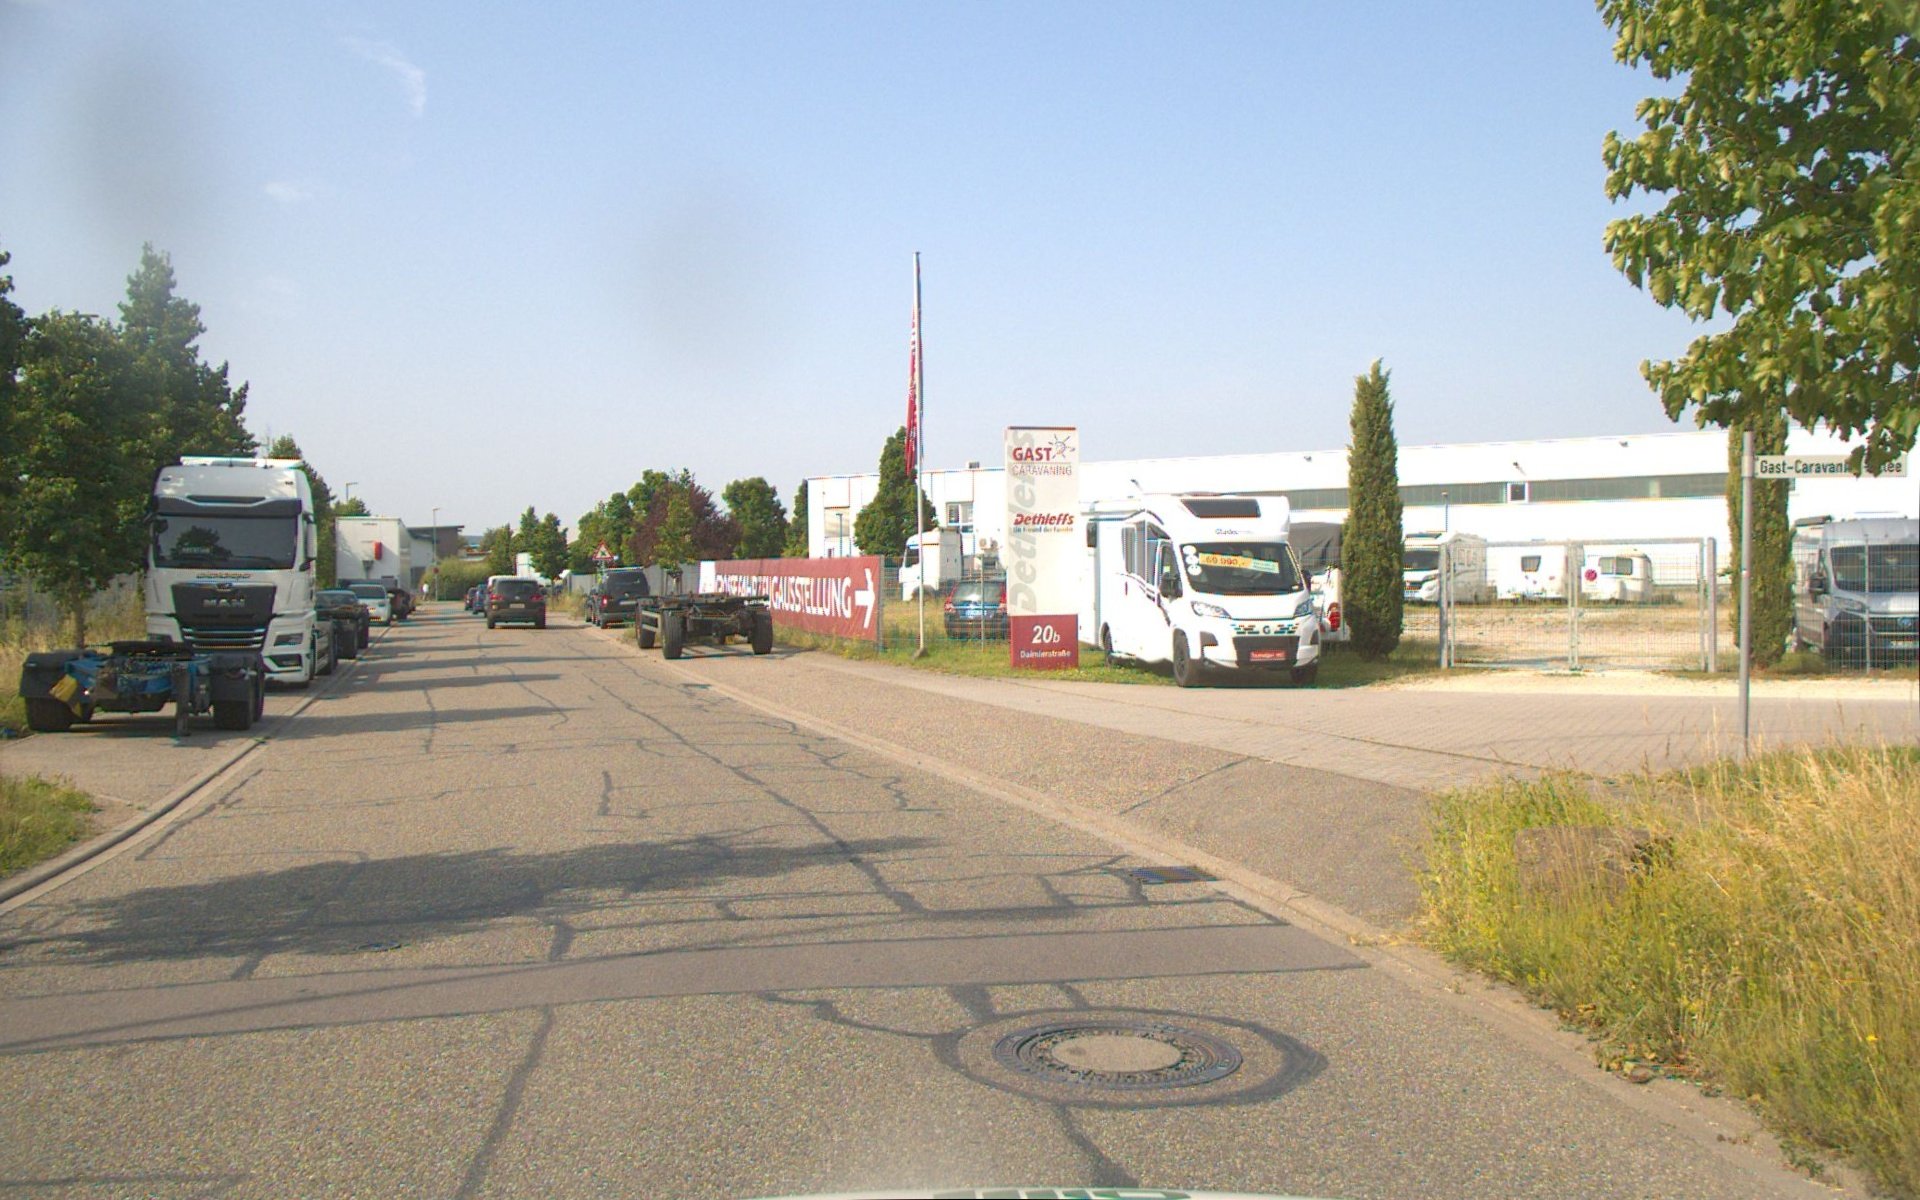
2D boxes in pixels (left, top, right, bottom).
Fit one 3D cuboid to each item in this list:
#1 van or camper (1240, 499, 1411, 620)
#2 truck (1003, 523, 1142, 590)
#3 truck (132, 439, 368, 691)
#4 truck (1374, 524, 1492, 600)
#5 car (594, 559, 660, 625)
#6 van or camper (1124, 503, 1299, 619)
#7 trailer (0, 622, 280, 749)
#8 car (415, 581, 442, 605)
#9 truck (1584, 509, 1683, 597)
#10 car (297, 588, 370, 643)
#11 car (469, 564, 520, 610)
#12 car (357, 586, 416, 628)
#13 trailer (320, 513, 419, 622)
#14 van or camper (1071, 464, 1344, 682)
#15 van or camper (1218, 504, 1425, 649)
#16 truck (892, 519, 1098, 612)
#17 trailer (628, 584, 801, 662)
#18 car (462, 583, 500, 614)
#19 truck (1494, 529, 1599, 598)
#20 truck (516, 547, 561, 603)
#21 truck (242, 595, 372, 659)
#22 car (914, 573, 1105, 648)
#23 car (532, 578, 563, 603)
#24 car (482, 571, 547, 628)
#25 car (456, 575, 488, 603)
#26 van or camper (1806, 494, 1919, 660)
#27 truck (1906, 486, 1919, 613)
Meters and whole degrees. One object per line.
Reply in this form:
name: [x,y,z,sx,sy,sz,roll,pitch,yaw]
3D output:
van or camper: [10.627,-1.185,47.403,2.892,3.137,7.962,0,2,27]
truck: [4.586,-1.720,65.701,2.404,2.514,7.991,0,1,28]
truck: [-13.608,-0.630,32.782,2.583,3.997,12.863,0,1,-16]
truck: [16.990,-1.367,59.028,2.404,2.514,7.991,0,1,28]
car: [-11.209,-0.300,55.481,1.789,2.012,3.984,-4,2,-15]
van or camper: [7.611,-1.173,48.981,2.744,3.137,7.962,0,2,27]
trailer: [-9.841,0.932,19.982,2.534,1.119,5.176,-1,1,-17]
car: [-41.313,-0.587,128.658,1.962,1.803,3.981,-1,1,-17]
truck: [23.818,-1.641,58.266,2.404,2.875,7.991,0,1,28]
car: [-18.097,0.409,47.830,1.857,1.461,3.976,-1,1,-20]
car: [-21.262,-0.622,75.622,1.959,1.932,4.454,0,2,-12]
car: [-21.165,0.221,61.171,1.781,1.452,3.983,-1,1,-16]
trailer: [-26.367,-1.436,74.452,3.349,4.415,13.856,-1,1,-16]
van or camper: [3.684,-0.449,26.362,2.288,2.994,6.956,-1,1,-9]
van or camper: [7.428,-0.527,33.334,2.435,2.603,6.618,0,2,28]
truck: [1.524,-1.521,74.600,9.101,4.041,2.457,0,1,26]
trailer: [-5.945,0.428,38.640,2.582,1.412,9.409,-3,2,-17]
car: [-26.580,-0.115,91.722,1.962,1.668,3.981,-1,1,-17]
truck: [21.274,-1.327,59.720,2.404,2.304,7.991,0,1,28]
truck: [-29.312,-1.739,114.813,2.840,3.648,8.029,-2,1,-15]
truck: [-15.947,0.596,40.732,2.485,1.287,6.495,-1,1,-18]
car: [1.131,0.193,36.476,2.135,1.502,3.975,0,1,43]
car: [-26.106,-0.603,104.560,1.789,1.474,3.785,-2,2,-15]
car: [-15.170,-0.059,56.465,1.959,1.836,3.988,0,2,-13]
car: [-32.625,-0.770,110.562,1.962,1.803,3.981,-1,1,-17]
van or camper: [15.880,-0.422,28.621,1.954,2.578,6.147,-1,1,25]
truck: [24.737,-1.253,40.635,2.404,2.895,7.991,0,1,28]
